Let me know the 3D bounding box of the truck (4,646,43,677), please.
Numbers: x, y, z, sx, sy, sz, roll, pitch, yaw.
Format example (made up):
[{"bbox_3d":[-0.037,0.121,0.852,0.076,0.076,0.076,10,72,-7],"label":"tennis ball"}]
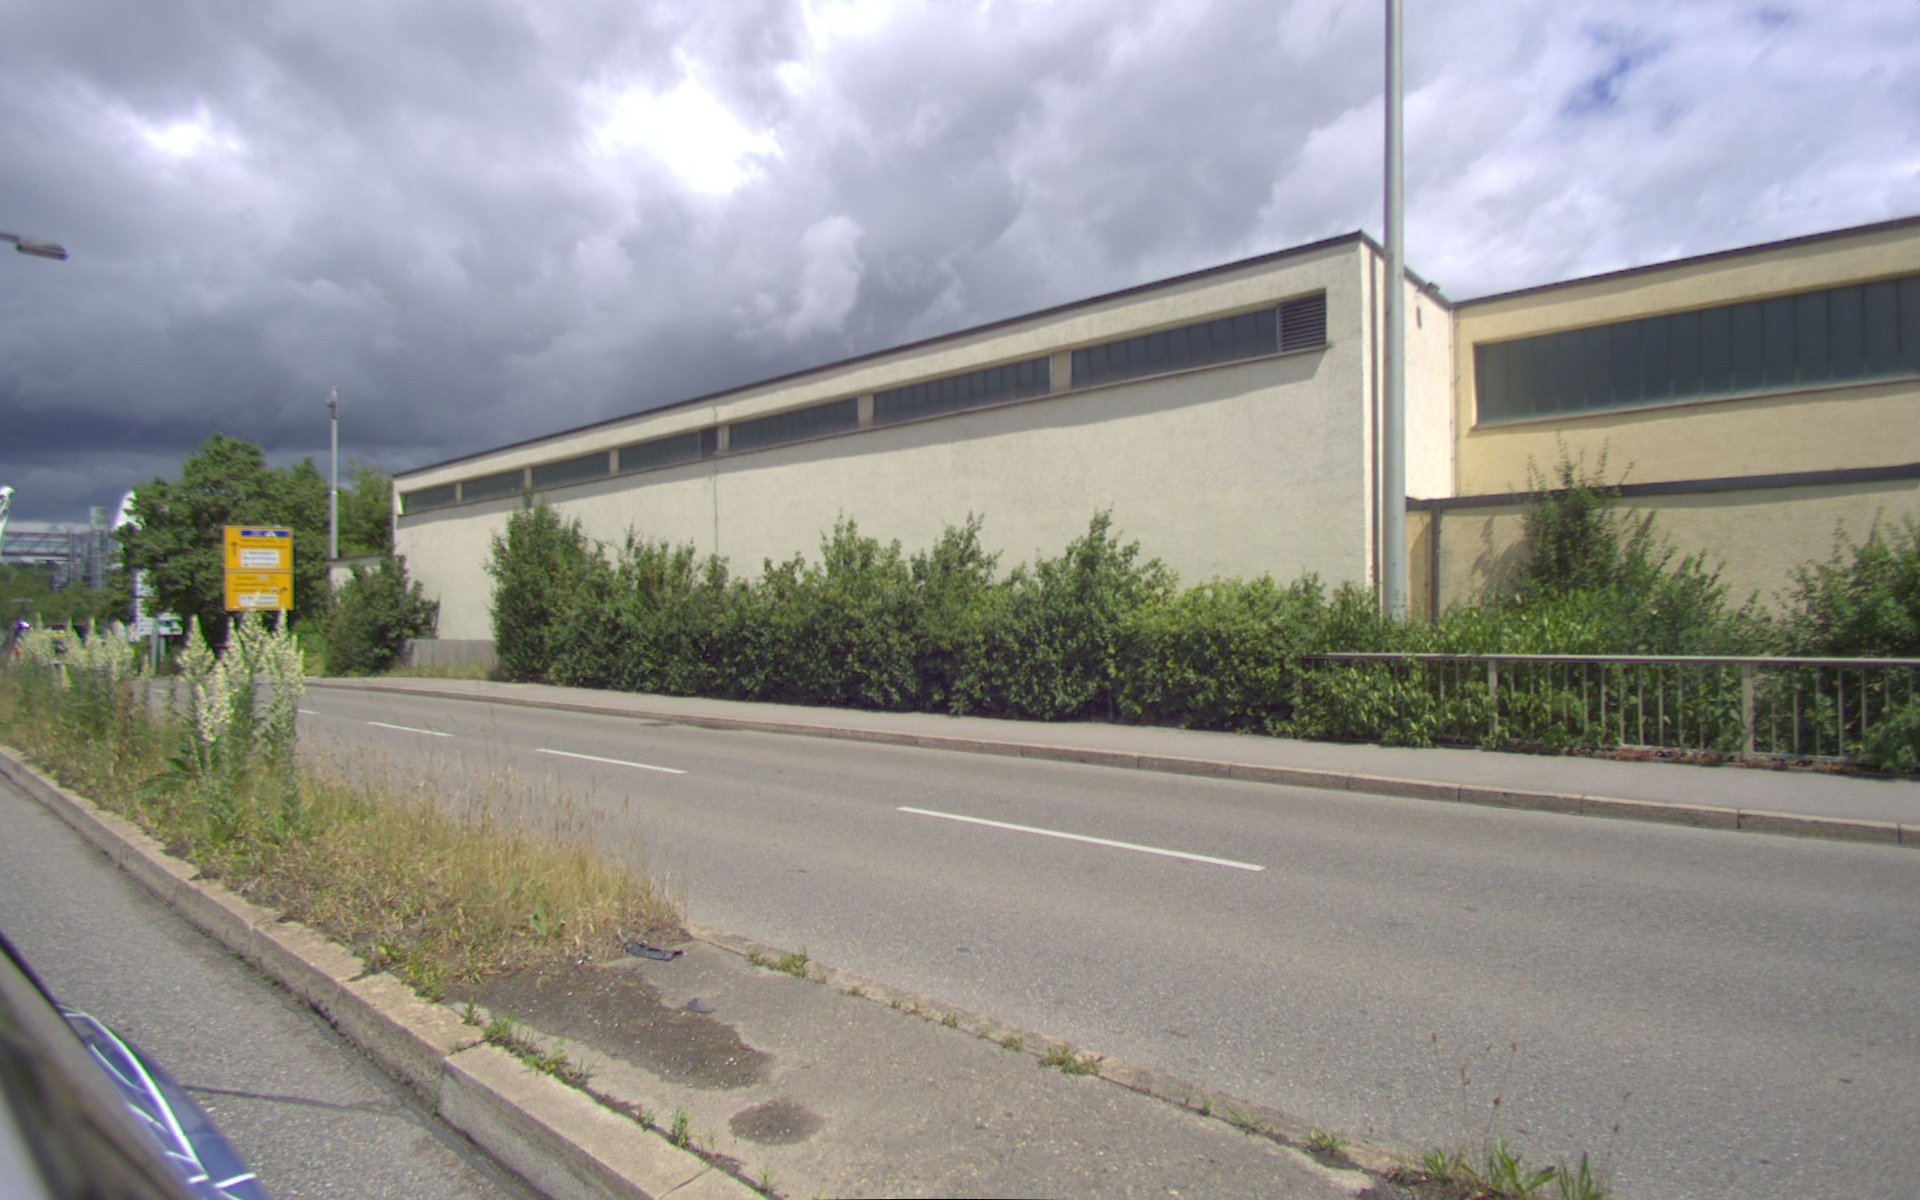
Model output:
[{"bbox_3d":[-103.378,6.861,111.775,2.820,2.879,9.389,0,-5,-41],"label":"truck"}]

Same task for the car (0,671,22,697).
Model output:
[{"bbox_3d":[-63.492,5.529,66.779,4.441,1.639,1.858,-4,-4,41],"label":"car"}]

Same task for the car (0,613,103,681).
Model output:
[{"bbox_3d":[-27.719,1.407,30.624,4.865,1.903,1.973,-3,-2,41],"label":"car"}]

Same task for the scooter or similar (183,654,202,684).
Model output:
[{"bbox_3d":[-34.601,3.120,45.615,0.485,1.314,1.644,-2,-2,-43],"label":"scooter or similar"}]

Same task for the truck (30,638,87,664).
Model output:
[{"bbox_3d":[-145.160,8.210,162.944,8.909,3.595,2.349,-4,-2,16],"label":"truck"}]
